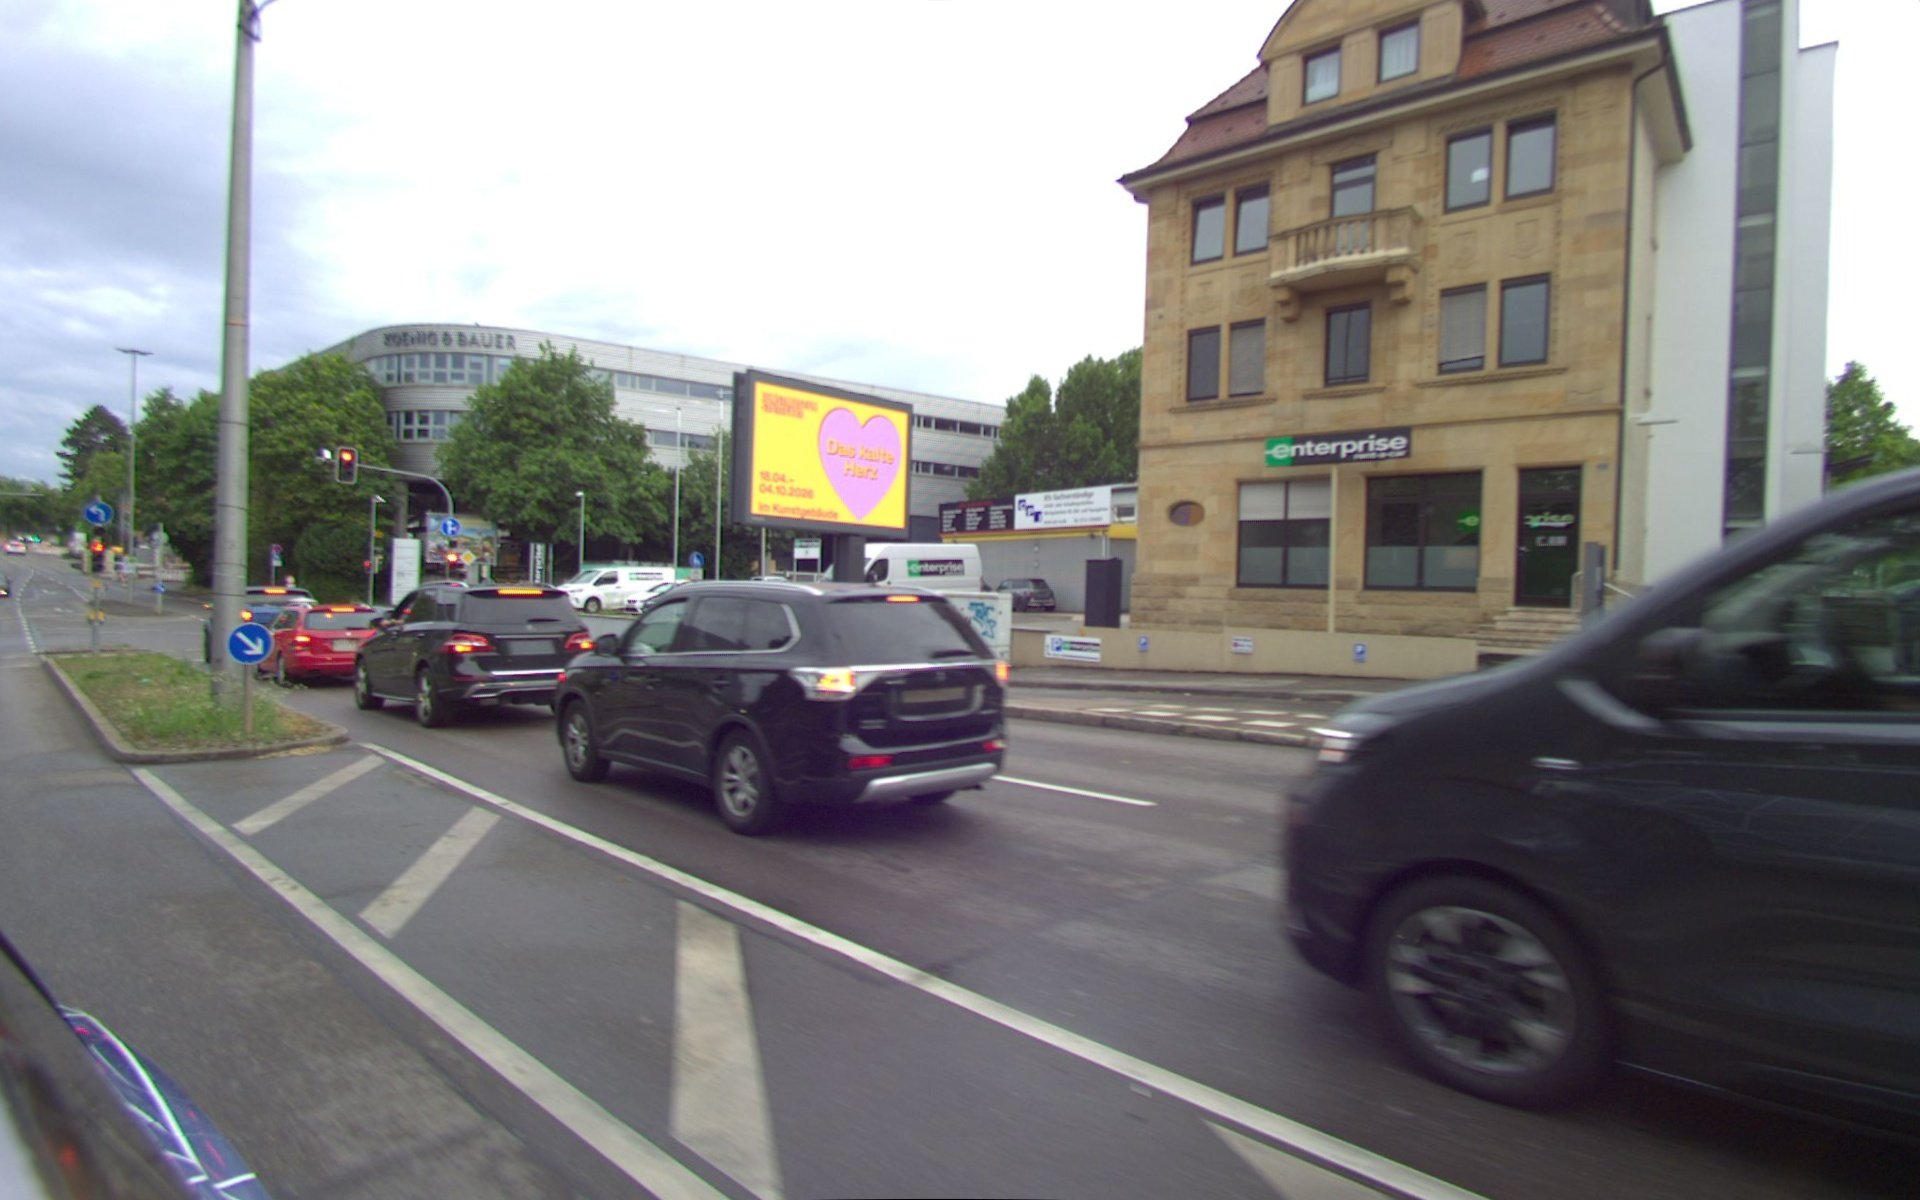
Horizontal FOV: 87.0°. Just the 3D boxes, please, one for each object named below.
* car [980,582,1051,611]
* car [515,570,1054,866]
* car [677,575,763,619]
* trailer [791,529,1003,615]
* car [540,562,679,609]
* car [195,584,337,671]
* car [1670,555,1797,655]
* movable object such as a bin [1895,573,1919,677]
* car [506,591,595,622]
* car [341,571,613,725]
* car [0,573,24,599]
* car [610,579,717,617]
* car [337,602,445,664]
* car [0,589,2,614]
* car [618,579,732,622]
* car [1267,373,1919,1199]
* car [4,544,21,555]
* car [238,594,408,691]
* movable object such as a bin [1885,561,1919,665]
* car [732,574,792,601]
[{"bbox_3d":[2.311,-0.165,42.886,1.301,1.116,3.423,1,0,-31],"label":"car"},{"bbox_3d":[-1.646,0.612,7.849,4.731,1.616,1.669,2,0,45],"label":"car"},{"bbox_3d":[-8.310,-0.144,35.173,1.228,1.435,2.648,1,3,45],"label":"car"},{"bbox_3d":[-1.833,-0.790,32.367,2.396,2.446,7.018,2,0,43],"label":"trailer"},{"bbox_3d":[-14.902,-0.584,43.336,2.217,1.815,5.305,2,0,37],"label":"car"},{"bbox_3d":[-16.542,0.605,24.016,1.911,1.832,5.174,1,-1,-44],"label":"car"},{"bbox_3d":[14.469,0.086,18.876,1.715,1.688,3.011,2,0,40],"label":"car"},{"bbox_3d":[13.793,0.322,14.048,1.097,1.416,1.174,-2,0,40],"label":"movable object such as a bin"},{"bbox_3d":[-23.133,0.326,57.244,4.308,1.612,2.040,-2,2,-33],"label":"car"},{"bbox_3d":[-6.634,0.564,13.627,1.932,1.710,4.629,1,-1,-44],"label":"car"},{"bbox_3d":[-61.645,-0.942,65.330,1.712,1.589,3.713,1,0,-44],"label":"car"},{"bbox_3d":[-11.662,-0.117,39.888,1.874,1.379,3.570,1,3,45],"label":"car"},{"bbox_3d":[-15.620,0.844,27.696,4.073,1.470,1.524,2,0,45],"label":"car"},{"bbox_3d":[-48.406,0.148,49.483,1.571,1.269,3.767,-2,3,-33],"label":"car"},{"bbox_3d":[-10.270,-0.018,36.607,1.743,1.379,3.570,1,3,45],"label":"car"},{"bbox_3d":[3.472,0.451,2.196,1.991,1.881,5.044,1,-2,-45],"label":"car"},{"bbox_3d":[-122.481,-6.522,130.818,1.510,1.324,3.235,1,0,-41],"label":"car"},{"bbox_3d":[-12.218,0.716,19.283,4.444,1.542,1.785,2,0,45],"label":"car"},{"bbox_3d":[14.818,0.198,15.364,1.039,1.553,1.232,1,0,39],"label":"movable object such as a bin"},{"bbox_3d":[-10.732,-0.689,54.672,3.298,1.331,1.552,2,0,44],"label":"car"}]
